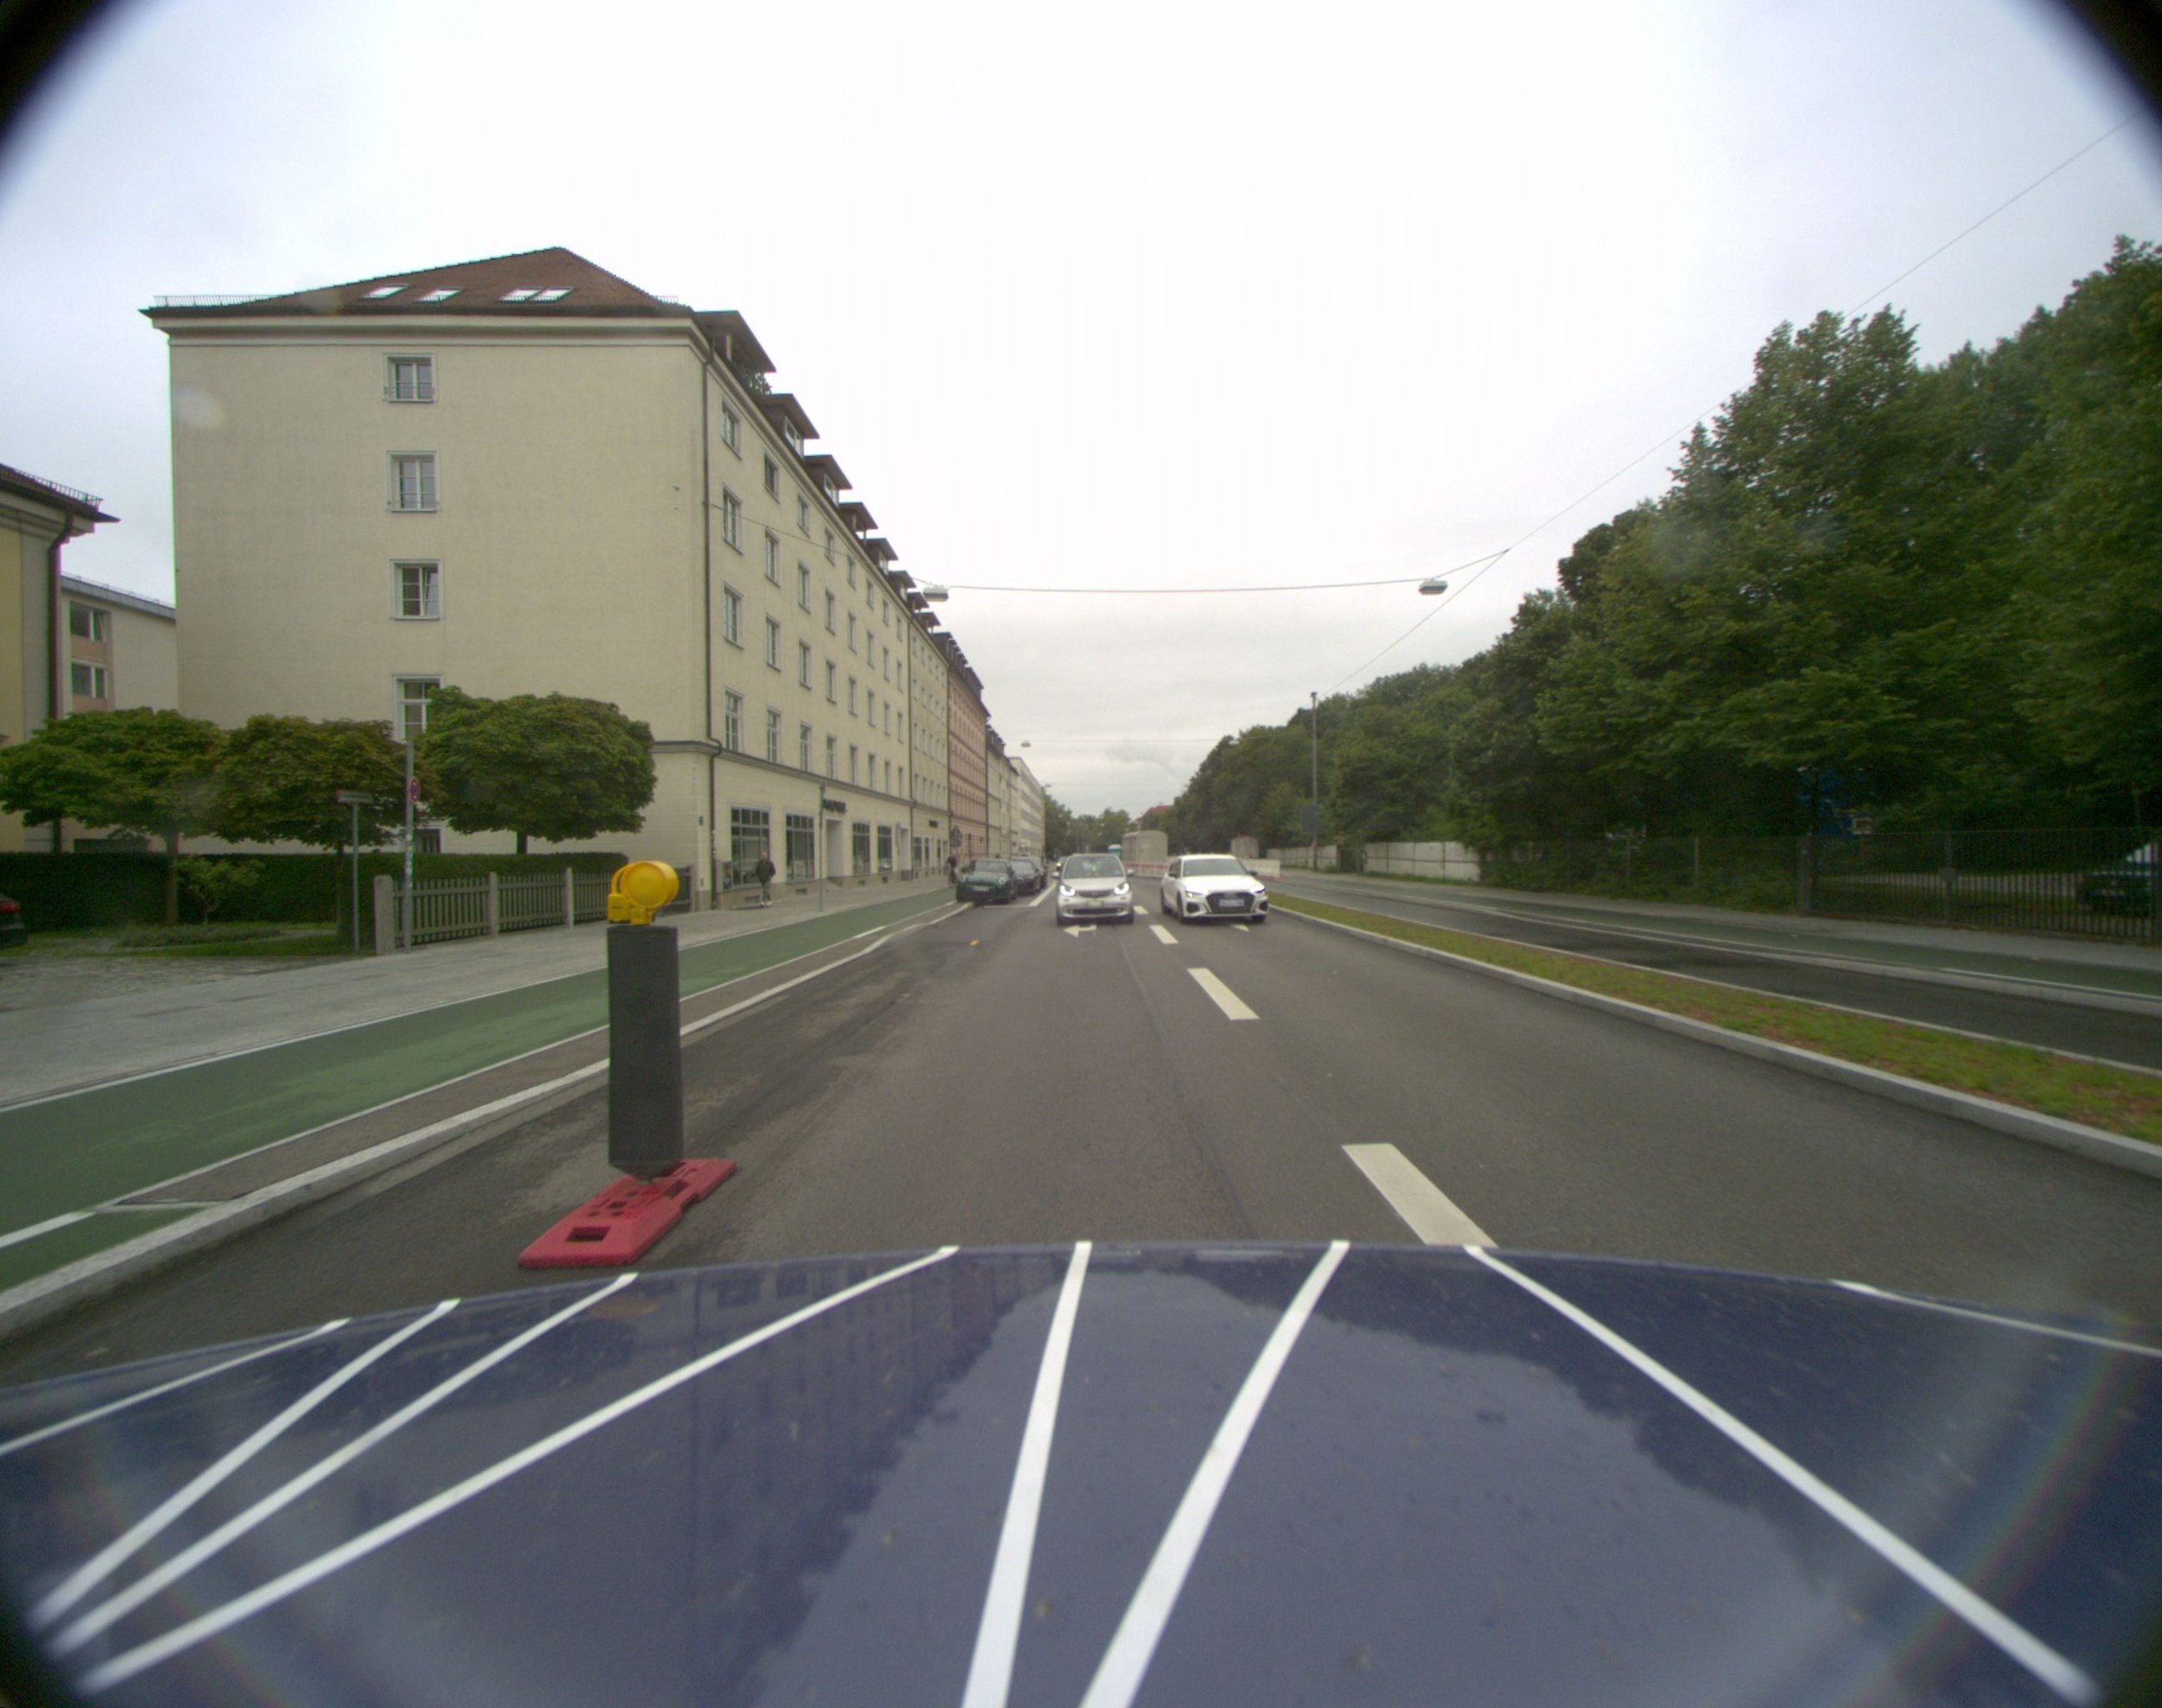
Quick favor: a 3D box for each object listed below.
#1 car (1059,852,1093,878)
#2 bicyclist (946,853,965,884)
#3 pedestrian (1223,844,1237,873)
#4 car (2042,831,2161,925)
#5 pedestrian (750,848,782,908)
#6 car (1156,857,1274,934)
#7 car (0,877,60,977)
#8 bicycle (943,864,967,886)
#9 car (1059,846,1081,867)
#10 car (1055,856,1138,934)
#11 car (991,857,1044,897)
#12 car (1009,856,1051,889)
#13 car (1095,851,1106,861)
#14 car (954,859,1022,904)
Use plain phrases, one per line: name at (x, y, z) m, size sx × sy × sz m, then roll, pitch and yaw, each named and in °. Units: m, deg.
car at (-0.282, 0.657, 47.485) m, size 1.922 × 1.433 × 4.306 m, roll -3°, pitch 0°, yaw 0°
bicyclist at (-6.301, 0.711, 38.146) m, size 0.724 × 1.543 × 0.858 m, roll -2°, pitch 1°, yaw 0°
pedestrian at (10.421, 0.290, 53.315) m, size 0.757 × 2.002 × 0.867 m, roll -2°, pitch 1°, yaw 1°
car at (22.773, 0.407, 15.371) m, size 4.036 × 1.700 × 1.875 m, roll -2°, pitch 3°, yaw 4°
pedestrian at (-9.896, 0.736, 23.893) m, size 0.655 × 1.863 × 0.826 m, roll 0°, pitch 1°, yaw 1°
car at (2.856, 0.824, 17.201) m, size 1.818 × 1.416 × 4.451 m, roll -2°, pitch 0°, yaw 0°
car at (-17.571, 1.096, 10.470) m, size 4.305 × 1.409 × 1.855 m, roll -1°, pitch 1°, yaw -2°
bicycle at (-6.296, 1.040, 38.040) m, size 0.751 × 1.026 × 2.531 m, roll -2°, pitch 0°, yaw 0°
car at (-1.046, 0.223, 74.772) m, size 1.998 × 2.002 × 4.000 m, roll -1°, pitch 0°, yaw 0°
car at (0.328, 0.834, 17.254) m, size 1.633 × 1.494 × 4.000 m, roll -2°, pitch 0°, yaw 1°
car at (-2.522, 0.895, 30.967) m, size 1.739 × 1.425 × 4.000 m, roll -2°, pitch 0°, yaw 1°
car at (-2.448, 0.859, 37.280) m, size 1.739 × 1.425 × 4.000 m, roll -2°, pitch 0°, yaw 1°
car at (2.986, 0.274, 116.842) m, size 1.739 × 1.425 × 4.000 m, roll -2°, pitch 0°, yaw 1°
car at (-3.063, 0.888, 25.794) m, size 1.739 × 1.313 × 4.000 m, roll -2°, pitch 0°, yaw 1°
